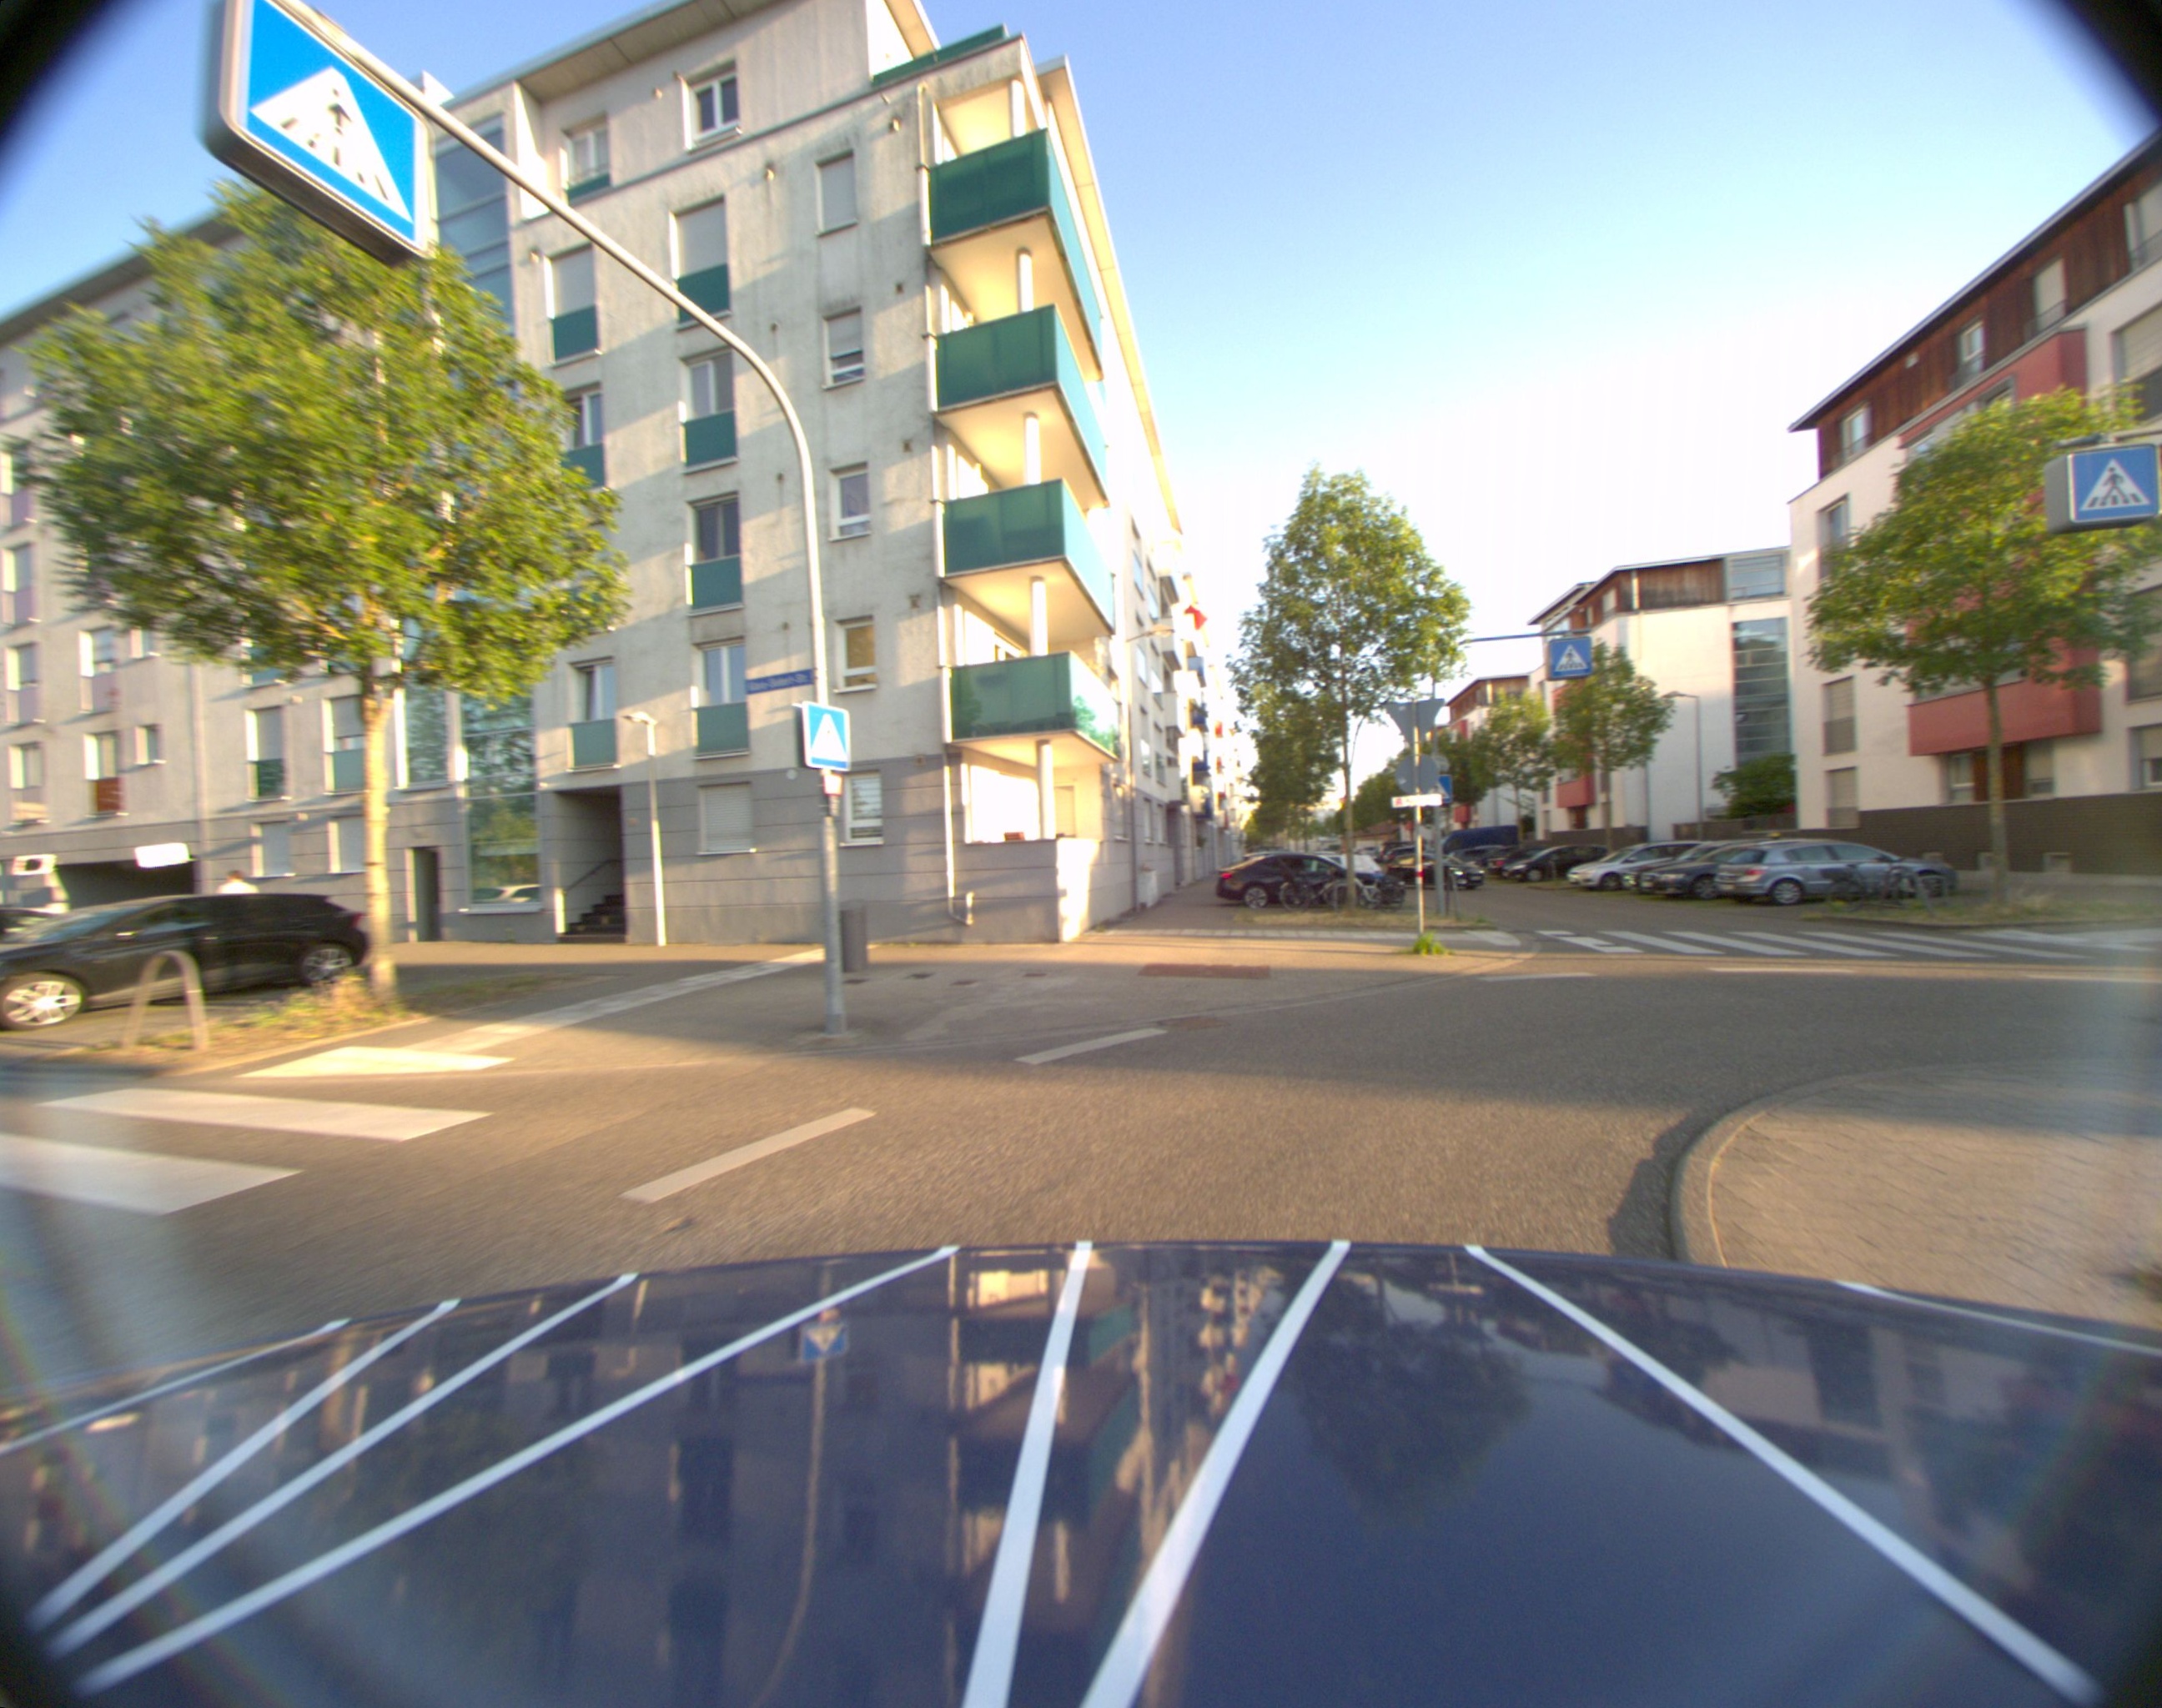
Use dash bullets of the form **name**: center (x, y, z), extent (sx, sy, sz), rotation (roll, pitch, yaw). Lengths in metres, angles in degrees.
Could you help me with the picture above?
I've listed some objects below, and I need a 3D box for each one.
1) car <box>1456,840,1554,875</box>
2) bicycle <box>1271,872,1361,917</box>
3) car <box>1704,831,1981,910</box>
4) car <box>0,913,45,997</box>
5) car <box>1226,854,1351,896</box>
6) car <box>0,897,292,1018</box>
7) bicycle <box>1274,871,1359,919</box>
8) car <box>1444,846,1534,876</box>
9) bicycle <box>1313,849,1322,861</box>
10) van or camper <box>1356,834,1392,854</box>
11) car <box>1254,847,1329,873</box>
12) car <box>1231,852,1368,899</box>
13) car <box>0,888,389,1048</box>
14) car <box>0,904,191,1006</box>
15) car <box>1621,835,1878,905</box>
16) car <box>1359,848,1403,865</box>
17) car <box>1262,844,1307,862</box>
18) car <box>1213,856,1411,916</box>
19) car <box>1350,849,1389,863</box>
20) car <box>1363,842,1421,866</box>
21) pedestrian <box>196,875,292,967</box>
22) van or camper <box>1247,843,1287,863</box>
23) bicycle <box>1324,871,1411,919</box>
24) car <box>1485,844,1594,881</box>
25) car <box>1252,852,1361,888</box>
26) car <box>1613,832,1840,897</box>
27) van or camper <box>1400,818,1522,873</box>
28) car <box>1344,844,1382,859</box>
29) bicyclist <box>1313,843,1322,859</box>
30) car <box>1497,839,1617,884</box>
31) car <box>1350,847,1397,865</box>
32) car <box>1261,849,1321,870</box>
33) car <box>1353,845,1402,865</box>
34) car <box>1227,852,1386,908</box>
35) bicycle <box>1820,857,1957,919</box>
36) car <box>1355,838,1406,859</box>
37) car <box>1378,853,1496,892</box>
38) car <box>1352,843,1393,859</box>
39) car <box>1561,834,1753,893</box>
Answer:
- **car**: center (22.192, 0.182, 39.901), extent (4.098, 1.616, 1.725), rotation (-3, 0, 9)
- **bicycle**: center (5.682, 0.976, 18.457), extent (2.032, 1.040, 0.474), rotation (0, 0, 9)
- **car**: center (17.584, 0.384, 17.770), extent (4.288, 1.449, 1.682), rotation (-5, -1, 11)
- **car**: center (-20.531, 1.851, 12.303), extent (1.698, 1.471, 4.061), rotation (-2, -1, 15)
- **car**: center (7.711, 0.737, 28.186), extent (4.286, 1.449, 1.745), rotation (0, 0, 22)
- **car**: center (-15.383, 1.562, 11.798), extent (1.557, 1.366, 4.009), rotation (-3, 2, 15)
- **bicycle**: center (5.351, 0.917, 17.328), extent (1.791, 1.036, 0.567), rotation (0, 0, 9)
- **car**: center (22.850, 0.386, 42.638), extent (4.098, 1.616, 1.725), rotation (0, 0, 9)
- **bicycle**: center (25.759, 0.120, 82.690), extent (0.771, 1.259, 1.783), rotation (-2, -1, 12)
- **van or camper**: center (37.777, -1.273, 98.057), extent (4.246, 2.520, 1.762), rotation (0, 0, 14)
- **car**: center (12.259, 0.346, 44.500), extent (4.098, 1.500, 1.667), rotation (0, 0, 9)
- **car**: center (7.304, 0.704, 25.729), extent (4.289, 1.485, 1.744), rotation (0, 0, 13)
- **car**: center (-12.715, 1.428, 10.353), extent (1.830, 1.479, 4.484), rotation (-2, 2, 15)
- **car**: center (-17.653, 1.675, 12.150), extent (1.698, 1.471, 4.061), rotation (-2, -1, 15)
- **car**: center (17.719, 0.429, 20.393), extent (4.911, 1.469, 1.712), rotation (-4, -1, 11)
- **car**: center (32.201, 0.247, 81.679), extent (4.247, 1.776, 1.694), rotation (0, 0, 12)
- **car**: center (20.159, -0.092, 75.379), extent (4.246, 1.768, 1.694), rotation (0, 0, 15)
- **car**: center (6.116, 0.807, 20.476), extent (4.881, 1.449, 1.940), rotation (0, 0, 15)
- **car**: center (34.483, 0.230, 90.969), extent (4.246, 1.629, 1.694), rotation (0, 0, 15)
- **car**: center (25.788, 0.013, 63.174), extent (4.247, 1.919, 1.694), rotation (0, 0, 12)
- **pedestrian**: center (-17.923, 1.419, 16.284), extent (1.048, 1.883, 0.981), rotation (-2, 0, 16)
- **van or camper**: center (20.610, -0.119, 84.131), extent (4.246, 2.198, 1.694), rotation (0, 0, 13)
- **bicycle**: center (6.677, 0.943, 17.736), extent (1.837, 1.065, 0.474), rotation (0, 0, 9)
- **car**: center (21.160, 0.397, 35.179), extent (3.915, 1.506, 1.725), rotation (-3, 0, 9)
- **car**: center (9.618, 0.661, 32.692), extent (4.290, 1.499, 1.687), rotation (0, 0, 10)
- **car**: center (18.968, 0.322, 22.581), extent (4.780, 1.545, 1.713), rotation (-4, -1, 17)
- **van or camper**: center (23.813, -0.487, 47.835), extent (6.308, 3.069, 2.444), rotation (-3, 0, 9)
- **car**: center (34.787, -0.311, 93.735), extent (4.246, 1.776, 1.694), rotation (0, 0, 15)
- **bicyclist**: center (25.756, -0.325, 82.746), extent (0.766, 1.618, 0.663), rotation (-2, 0, 12)
- **car**: center (20.318, 0.318, 32.561), extent (3.915, 1.700, 1.725), rotation (-3, 0, 9)
- **car**: center (29.496, 0.206, 76.803), extent (4.247, 1.776, 1.694), rotation (0, 0, 12)
- **car**: center (15.689, 0.384, 56.969), extent (4.246, 1.527, 1.694), rotation (0, 0, 15)
- **car**: center (29.134, 0.103, 74.791), extent (4.247, 1.991, 1.694), rotation (0, 0, 12)
- **car**: center (6.775, 0.788, 23.052), extent (4.407, 1.499, 1.745), rotation (-3, -1, 17)
- **bicycle**: center (16.080, 0.677, 15.164), extent (1.820, 1.060, 0.567), rotation (-5, -1, 11)
- **car**: center (28.512, -0.521, 72.451), extent (4.247, 1.919, 1.694), rotation (0, 0, 12)
- **car**: center (14.193, 0.699, 30.531), extent (1.780, 1.454, 4.170), rotation (0, 0, -23)
- **car**: center (33.961, -0.375, 88.547), extent (4.246, 1.776, 1.694), rotation (0, 0, 15)
- **car**: center (19.083, 0.329, 25.383), extent (4.755, 1.575, 1.760), rotation (-4, -1, 9)
